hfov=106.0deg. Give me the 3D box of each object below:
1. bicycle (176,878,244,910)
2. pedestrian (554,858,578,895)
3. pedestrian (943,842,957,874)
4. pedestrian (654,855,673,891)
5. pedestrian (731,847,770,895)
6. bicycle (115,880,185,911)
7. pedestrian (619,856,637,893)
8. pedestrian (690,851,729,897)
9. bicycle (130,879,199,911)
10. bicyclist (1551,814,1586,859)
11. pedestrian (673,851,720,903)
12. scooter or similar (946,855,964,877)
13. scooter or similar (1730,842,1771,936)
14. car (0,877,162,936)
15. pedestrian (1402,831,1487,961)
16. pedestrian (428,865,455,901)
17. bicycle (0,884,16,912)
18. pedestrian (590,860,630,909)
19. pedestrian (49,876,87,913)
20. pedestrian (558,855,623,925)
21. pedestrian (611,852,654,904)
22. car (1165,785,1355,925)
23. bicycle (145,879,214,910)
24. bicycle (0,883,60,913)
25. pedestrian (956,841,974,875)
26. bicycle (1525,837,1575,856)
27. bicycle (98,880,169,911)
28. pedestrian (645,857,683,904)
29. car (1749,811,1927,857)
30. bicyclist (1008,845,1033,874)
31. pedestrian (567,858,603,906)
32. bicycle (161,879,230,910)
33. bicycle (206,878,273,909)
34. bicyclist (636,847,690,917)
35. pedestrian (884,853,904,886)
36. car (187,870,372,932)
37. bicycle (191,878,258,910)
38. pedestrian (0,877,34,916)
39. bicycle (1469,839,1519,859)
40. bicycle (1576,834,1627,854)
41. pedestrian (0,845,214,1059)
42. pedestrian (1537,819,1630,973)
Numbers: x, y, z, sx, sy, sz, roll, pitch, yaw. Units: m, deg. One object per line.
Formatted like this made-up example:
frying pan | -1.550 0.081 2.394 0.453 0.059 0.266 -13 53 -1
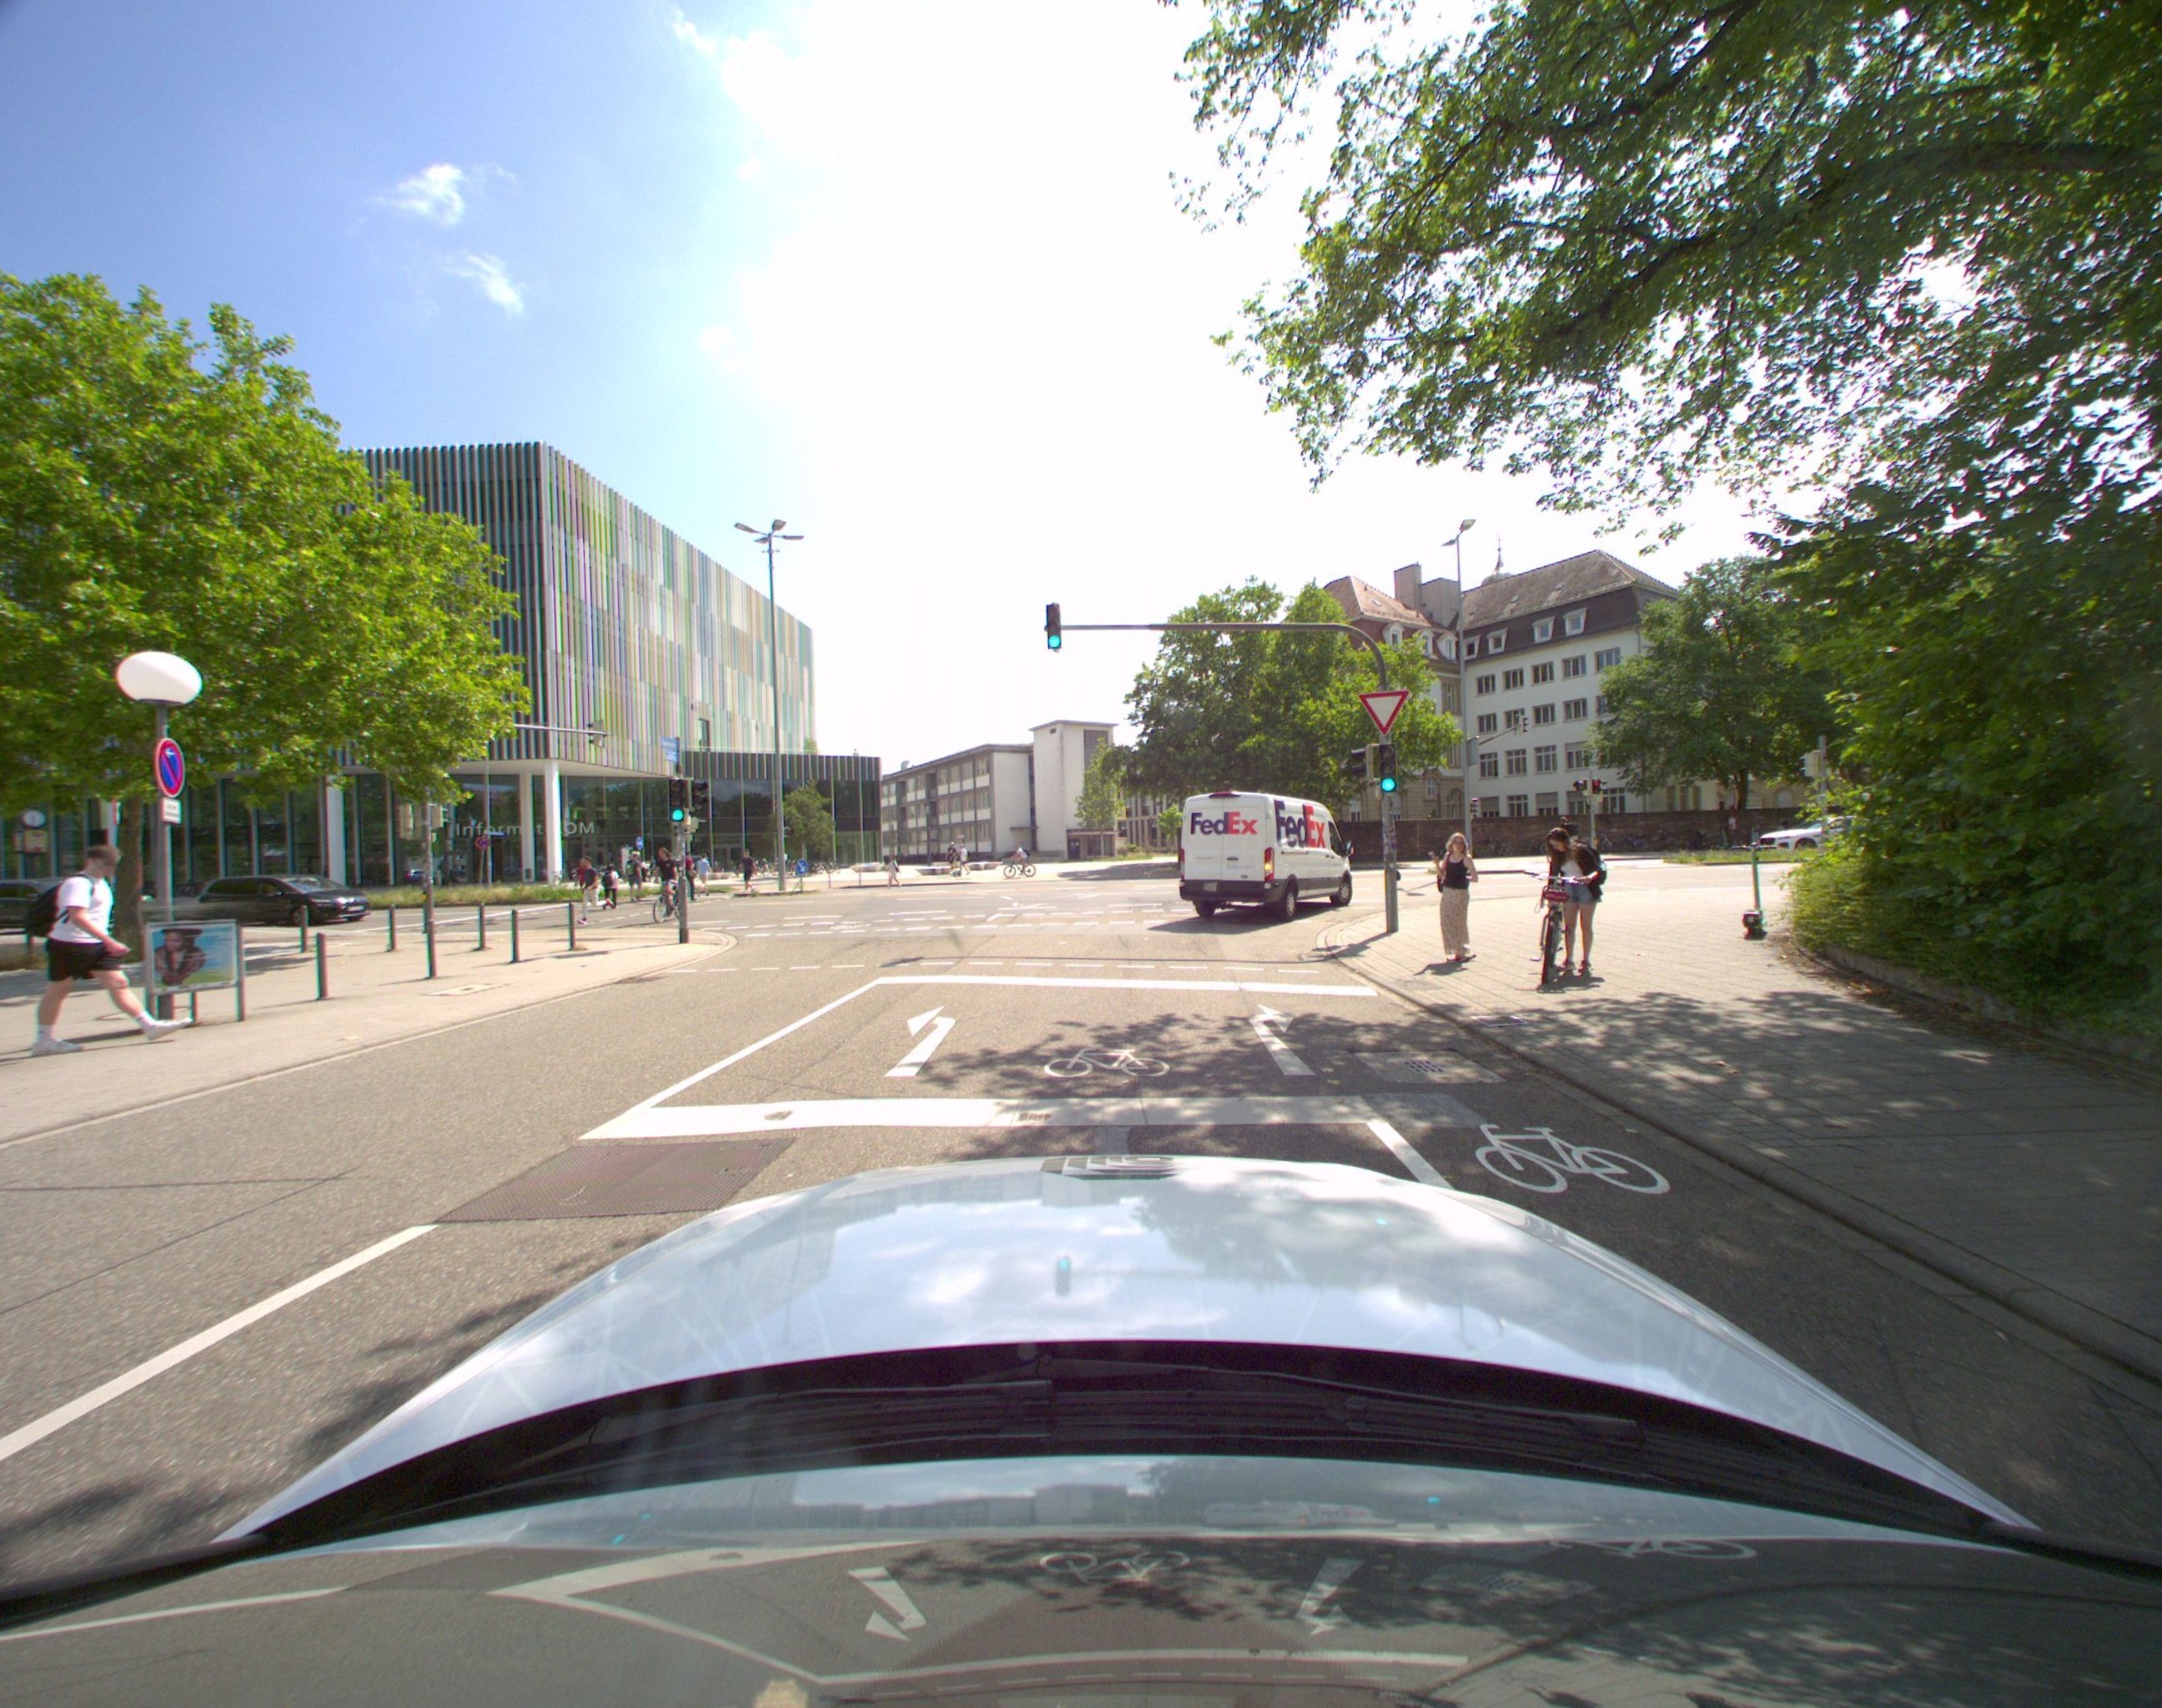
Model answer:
bicycle | -55.725 2.540 52.169 0.954 1.838 2.956 -1 0 6
pedestrian | -37.135 1.605 58.712 0.969 2.565 1.015 -1 0 2
pedestrian | -7.688 0.246 47.782 0.670 1.815 0.811 -2 0 -17
pedestrian | -30.353 1.344 59.147 0.981 2.565 1.003 -1 0 -40
pedestrian | -13.360 0.678 32.941 0.822 1.870 1.091 -2 0 26
bicycle | -59.990 2.638 52.512 0.955 1.838 2.955 -1 0 5
pedestrian | -32.493 1.468 58.387 0.980 2.565 1.004 -1 0 -34
pedestrian | -15.094 0.798 33.112 0.853 1.818 1.102 -2 0 26
bicycle | -58.959 2.615 52.446 0.955 1.838 2.955 -1 0 5
bicyclist | 18.787 -0.664 31.394 0.682 1.672 0.886 -2 0 -12
pedestrian | -13.868 0.812 29.411 0.799 1.807 1.273 -2 0 19
scooter or similar | -7.019 0.649 45.211 0.717 1.178 2.712 -2 1 -14
scooter or similar | 8.843 0.437 10.748 0.283 1.146 1.185 -2 0 44
car | -33.094 1.715 26.435 4.789 1.661 1.654 -2 0 3
pedestrian | 4.678 0.521 10.532 0.727 1.575 0.777 -4 0 7
pedestrian | -43.634 1.964 55.550 0.969 2.345 1.015 -1 0 2
bicycle | -71.930 2.913 53.095 0.955 1.838 2.954 -1 0 3
pedestrian | -15.910 1.032 27.531 0.767 1.597 0.799 -2 0 4
pedestrian | -61.833 2.478 49.718 0.969 2.201 1.015 -1 0 2
pedestrian | -13.898 1.003 23.110 0.698 1.855 1.403 -2 2 12
pedestrian | -16.753 0.900 30.444 0.845 1.876 1.012 -2 0 21
car | 4.123 -0.067 17.815 2.075 2.566 5.638 0 2 34
bicycle | -57.901 2.590 52.334 0.955 1.838 2.956 -1 0 5
bicycle | -68.895 2.843 53.021 0.955 1.838 2.954 -1 0 3
pedestrian | -6.779 0.234 47.445 0.867 1.889 0.908 -2 0 -16
bicycle | 26.236 -0.424 45.560 2.374 0.994 0.753 -2 0 -2
bicycle | -61.106 2.664 52.569 0.955 1.838 2.955 -1 0 4
pedestrian | -15.162 0.945 29.625 0.819 1.654 0.866 -2 0 17
car | 31.115 -0.815 33.625 5.263 1.641 2.003 -2 0 5
bicyclist | -3.241 0.291 43.812 0.841 1.468 1.074 -2 0 25
pedestrian | -17.823 1.000 29.273 0.750 1.678 0.756 -2 0 5
bicycle | -56.781 2.565 52.287 0.954 1.838 2.956 -1 0 6
bicycle | -53.679 2.493 51.997 0.954 1.838 2.956 -1 0 6
bicyclist | -11.365 0.744 22.158 0.784 1.817 1.003 -2 0 12
pedestrian | -8.881 0.730 38.674 0.827 1.523 0.810 -2 0 -17
car | -25.375 1.469 25.860 4.263 1.661 1.654 -2 1 3
bicycle | -54.704 2.517 52.076 0.954 1.838 2.956 -1 0 6
pedestrian | -62.430 2.482 47.613 0.969 2.176 1.129 -1 0 2
bicycle | 22.994 -0.266 45.359 2.374 0.994 0.753 -2 0 -2
bicycle | 29.181 -0.572 45.676 2.374 0.994 0.753 -2 0 -2
pedestrian | -9.079 0.847 7.629 1.091 1.851 0.716 -1 0 -26
pedestrian | 5.431 0.446 8.833 0.717 1.575 0.738 -5 -1 30
